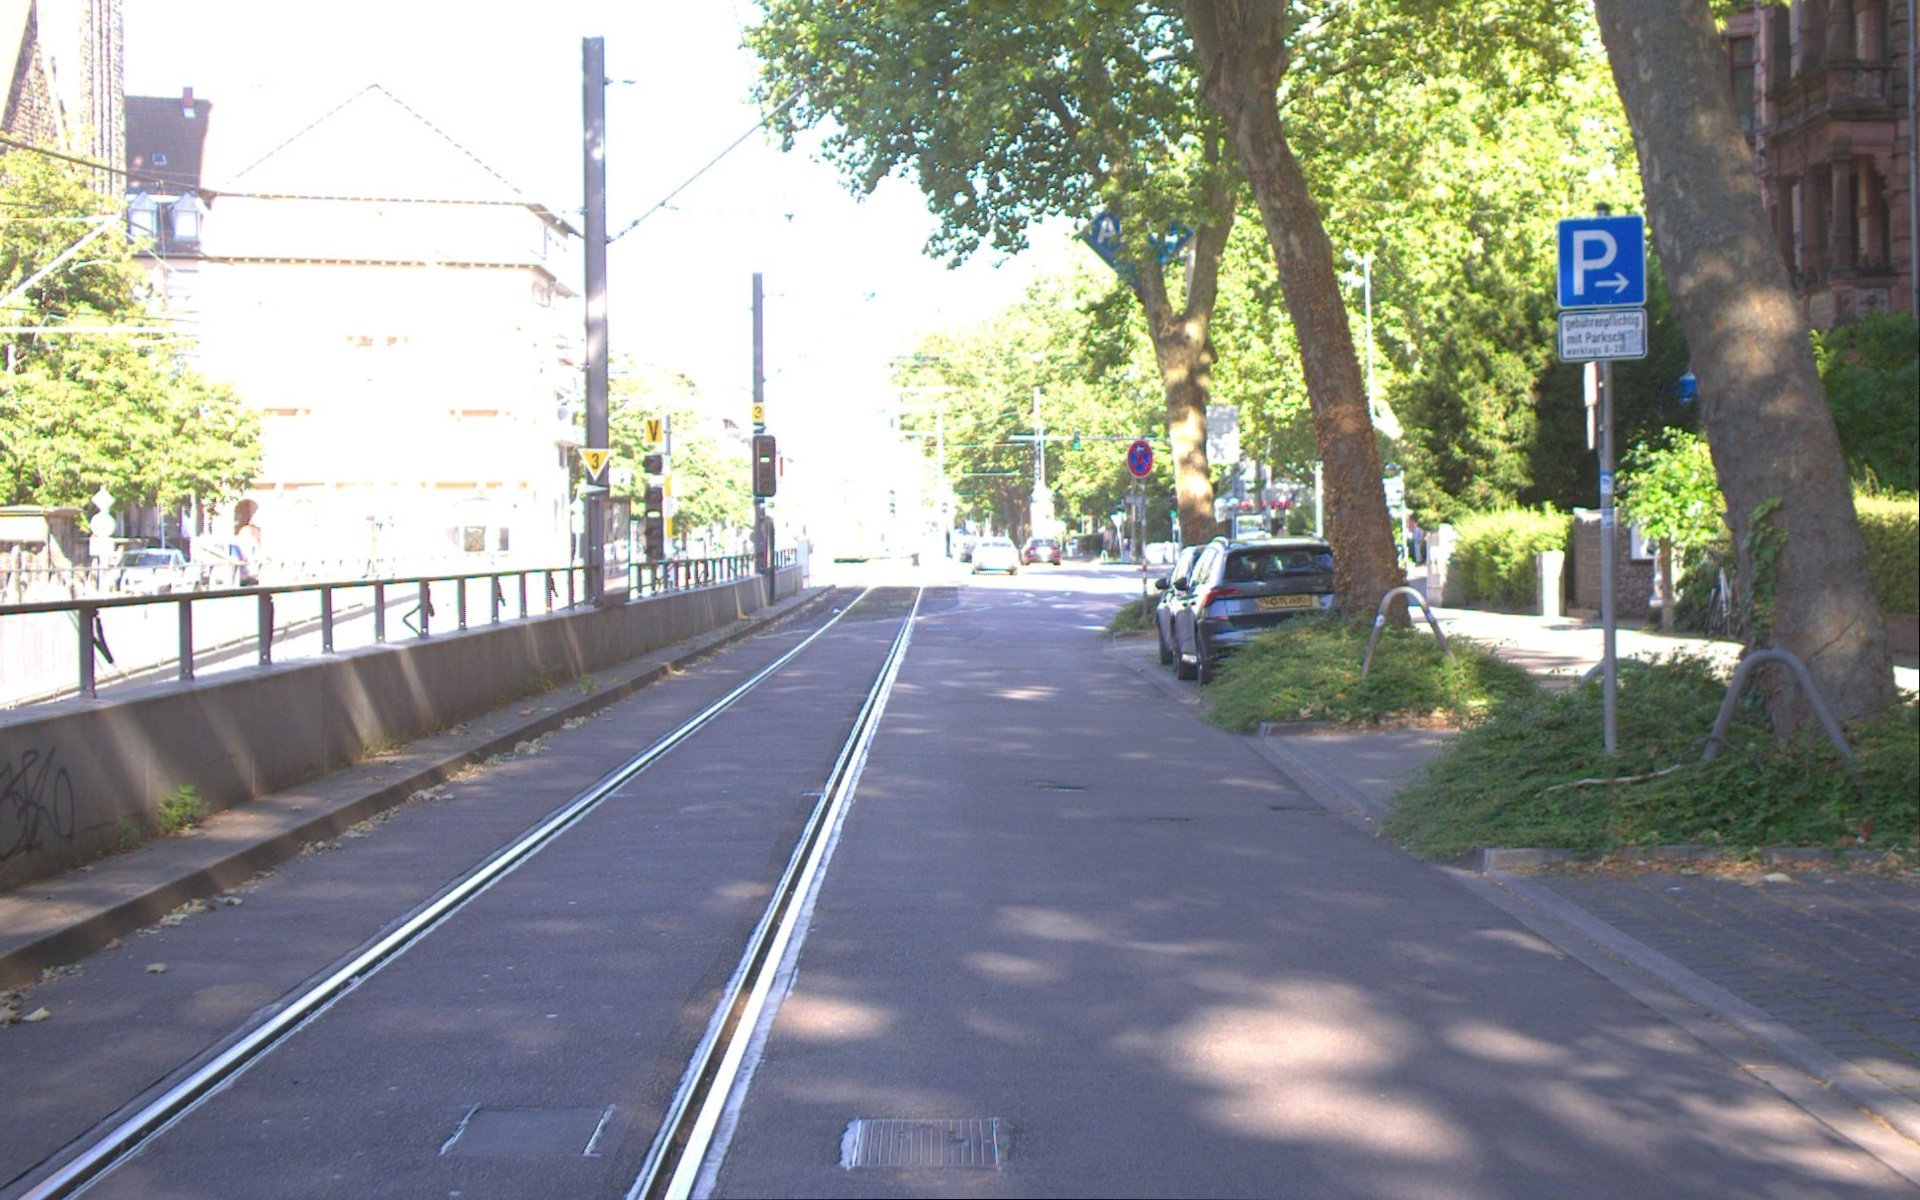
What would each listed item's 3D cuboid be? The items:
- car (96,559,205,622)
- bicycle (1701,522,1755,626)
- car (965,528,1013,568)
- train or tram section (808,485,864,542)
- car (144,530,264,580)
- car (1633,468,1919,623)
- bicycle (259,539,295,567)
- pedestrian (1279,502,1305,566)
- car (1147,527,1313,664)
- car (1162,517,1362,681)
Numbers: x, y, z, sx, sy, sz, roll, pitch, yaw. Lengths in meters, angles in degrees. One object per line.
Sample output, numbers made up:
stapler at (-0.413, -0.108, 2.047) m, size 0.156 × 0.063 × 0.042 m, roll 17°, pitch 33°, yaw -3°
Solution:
car at (-21.789, -0.275, 92.734) m, size 1.716 × 1.550 × 4.510 m, roll 2°, pitch 1°, yaw 2°
bicycle at (9.426, -0.328, 42.250) m, size 0.337 × 1.245 × 1.766 m, roll 2°, pitch 1°, yaw 4°
car at (1.126, -2.027, 134.189) m, size 1.745 × 1.457 × 3.645 m, roll 2°, pitch 1°, yaw -1°
train or tram section at (-7.741, -5.440, 215.757) m, size 2.952 × 3.398 × 10.791 m, roll 2°, pitch 1°, yaw 0°
car at (-28.246, -1.694, 128.576) m, size 3.987 × 1.750 × 1.895 m, roll 2°, pitch 1°, yaw 2°
car at (12.027, -0.792, 48.588) m, size 4.572 × 2.007 × 1.914 m, roll -2°, pitch 1°, yaw 0°
bicycle at (-32.126, -2.214, 161.630) m, size 0.821 × 1.278 × 2.565 m, roll 1°, pitch 1°, yaw -31°
pedestrian at (9.353, -1.852, 96.782) m, size 0.603 × 1.770 × 0.690 m, roll -4°, pitch 1°, yaw 4°
car at (3.146, -0.085, 40.681) m, size 1.551 × 1.494 × 4.050 m, roll -2°, pitch 1°, yaw -1°
car at (3.136, -0.053, 36.422) m, size 1.616 × 1.581 × 4.417 m, roll -2°, pitch 1°, yaw -1°
